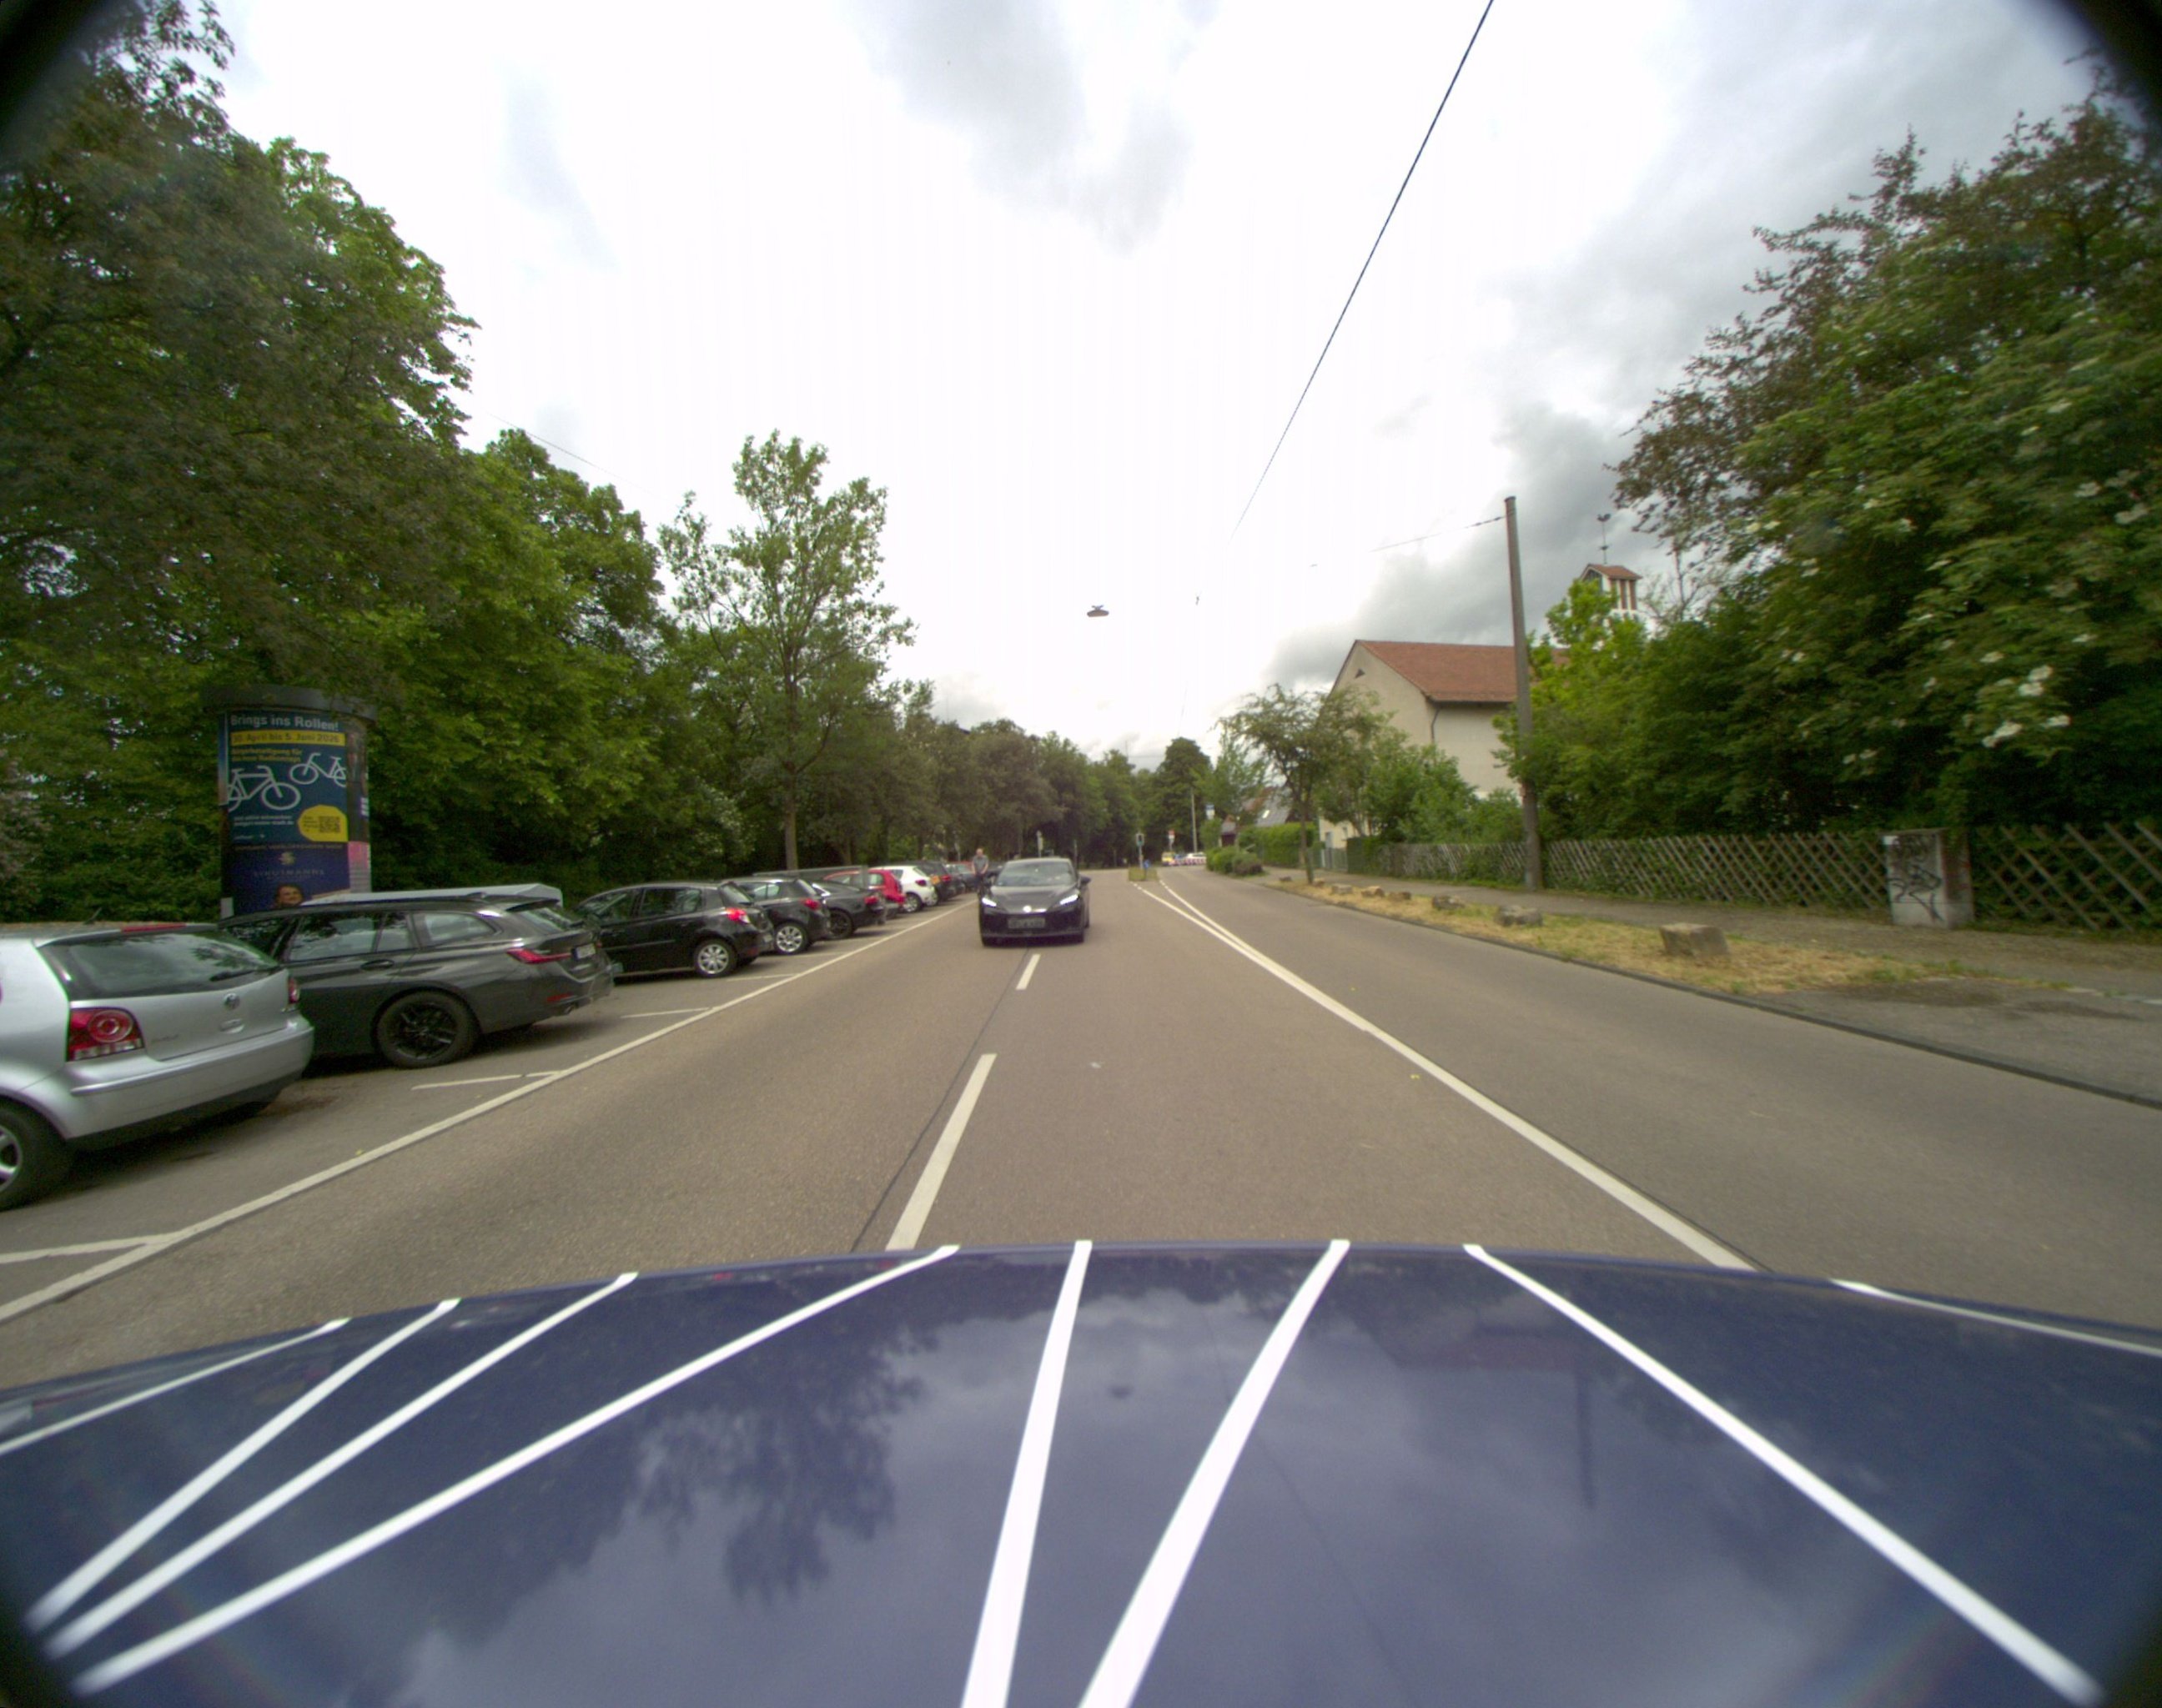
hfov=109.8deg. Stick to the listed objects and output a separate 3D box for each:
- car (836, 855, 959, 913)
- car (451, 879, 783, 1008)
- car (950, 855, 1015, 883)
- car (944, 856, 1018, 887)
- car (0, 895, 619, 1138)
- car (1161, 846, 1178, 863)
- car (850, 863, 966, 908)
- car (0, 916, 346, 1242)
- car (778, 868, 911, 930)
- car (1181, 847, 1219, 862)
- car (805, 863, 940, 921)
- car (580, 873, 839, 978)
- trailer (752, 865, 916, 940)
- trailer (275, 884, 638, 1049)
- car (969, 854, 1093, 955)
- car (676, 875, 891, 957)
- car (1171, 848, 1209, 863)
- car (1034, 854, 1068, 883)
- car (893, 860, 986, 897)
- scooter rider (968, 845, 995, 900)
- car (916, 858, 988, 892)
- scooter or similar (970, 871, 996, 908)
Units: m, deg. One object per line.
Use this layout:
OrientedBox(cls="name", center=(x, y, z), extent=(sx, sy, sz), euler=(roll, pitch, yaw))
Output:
OrientedBox(cls="car", center=(-6.427, 1.018, 26.891), extent=(3.999, 1.715, 1.679), euler=(-4, 1, -10))
OrientedBox(cls="car", center=(-6.755, 1.253, 11.473), extent=(3.853, 1.447, 1.632), euler=(-4, 1, -10))
OrientedBox(cls="car", center=(-6.074, 0.910, 47.061), extent=(3.725, 1.467, 1.576), euler=(-4, 0, -2))
OrientedBox(cls="car", center=(-5.872, 0.991, 44.503), extent=(4.149, 1.468, 1.575), euler=(-4, 1, -11))
OrientedBox(cls="car", center=(-6.824, 1.276, 6.686), extent=(4.361, 1.437, 1.632), euler=(-4, 0, -17))
OrientedBox(cls="car", center=(11.394, 0.100, 98.039), extent=(1.920, 1.977, 4.802), euler=(-3, 0, 5))
OrientedBox(cls="car", center=(-6.651, 1.185, 29.531), extent=(4.173, 1.399, 1.696), euler=(-4, 1, -10))
OrientedBox(cls="car", center=(-6.788, 1.257, 4.111), extent=(3.623, 1.437, 1.632), euler=(-4, 0, -15))
OrientedBox(cls="car", center=(-6.734, 1.252, 21.928), extent=(3.436, 1.437, 1.558), euler=(-4, 1, -11))
OrientedBox(cls="car", center=(13.720, 0.089, 87.591), extent=(3.904, 1.463, 1.845), euler=(-3, -1, -7))
OrientedBox(cls="car", center=(-6.597, 1.170, 24.339), extent=(3.831, 1.520, 1.605), euler=(-4, 1, -3))
OrientedBox(cls="car", center=(-6.663, 1.246, 14.041), extent=(3.925, 1.478, 1.616), euler=(-4, 1, -12))
OrientedBox(cls="trailer", center=(-6.226, 1.188, 19.527), extent=(3.701, 1.526, 1.644), euler=(-4, 0, -10))
OrientedBox(cls="trailer", center=(-7.232, 1.242, 9.077), extent=(2.996, 1.533, 1.302), euler=(-4, 0, -12))
OrientedBox(cls="car", center=(-0.785, 0.825, 14.546), extent=(1.803, 1.541, 4.299), euler=(-3, 0, 3))
OrientedBox(cls="car", center=(-6.323, 1.292, 16.572), extent=(4.050, 1.320, 1.558), euler=(-4, 1, -11))
OrientedBox(cls="car", center=(12.870, 0.211, 89.967), extent=(4.175, 1.537, 1.846), euler=(-3, -1, 0))
OrientedBox(cls="car", center=(-1.778, 0.864, 46.762), extent=(1.814, 1.520, 3.999), euler=(-3, 1, 1))
OrientedBox(cls="car", center=(-6.767, 1.136, 36.725), extent=(4.233, 1.455, 1.634), euler=(-4, 1, -8))
OrientedBox(cls="scooter rider", center=(-3.235, 0.581, 24.832), extent=(0.683, 1.720, 1.196), euler=(-3, 0, -4))
OrientedBox(cls="car", center=(-6.679, 1.067, 39.362), extent=(3.535, 1.468, 1.590), euler=(-4, 1, -11))
OrientedBox(cls="scooter or similar", center=(-3.197, 1.138, 24.817), extent=(0.683, 1.132, 1.459), euler=(-3, 0, -4))
